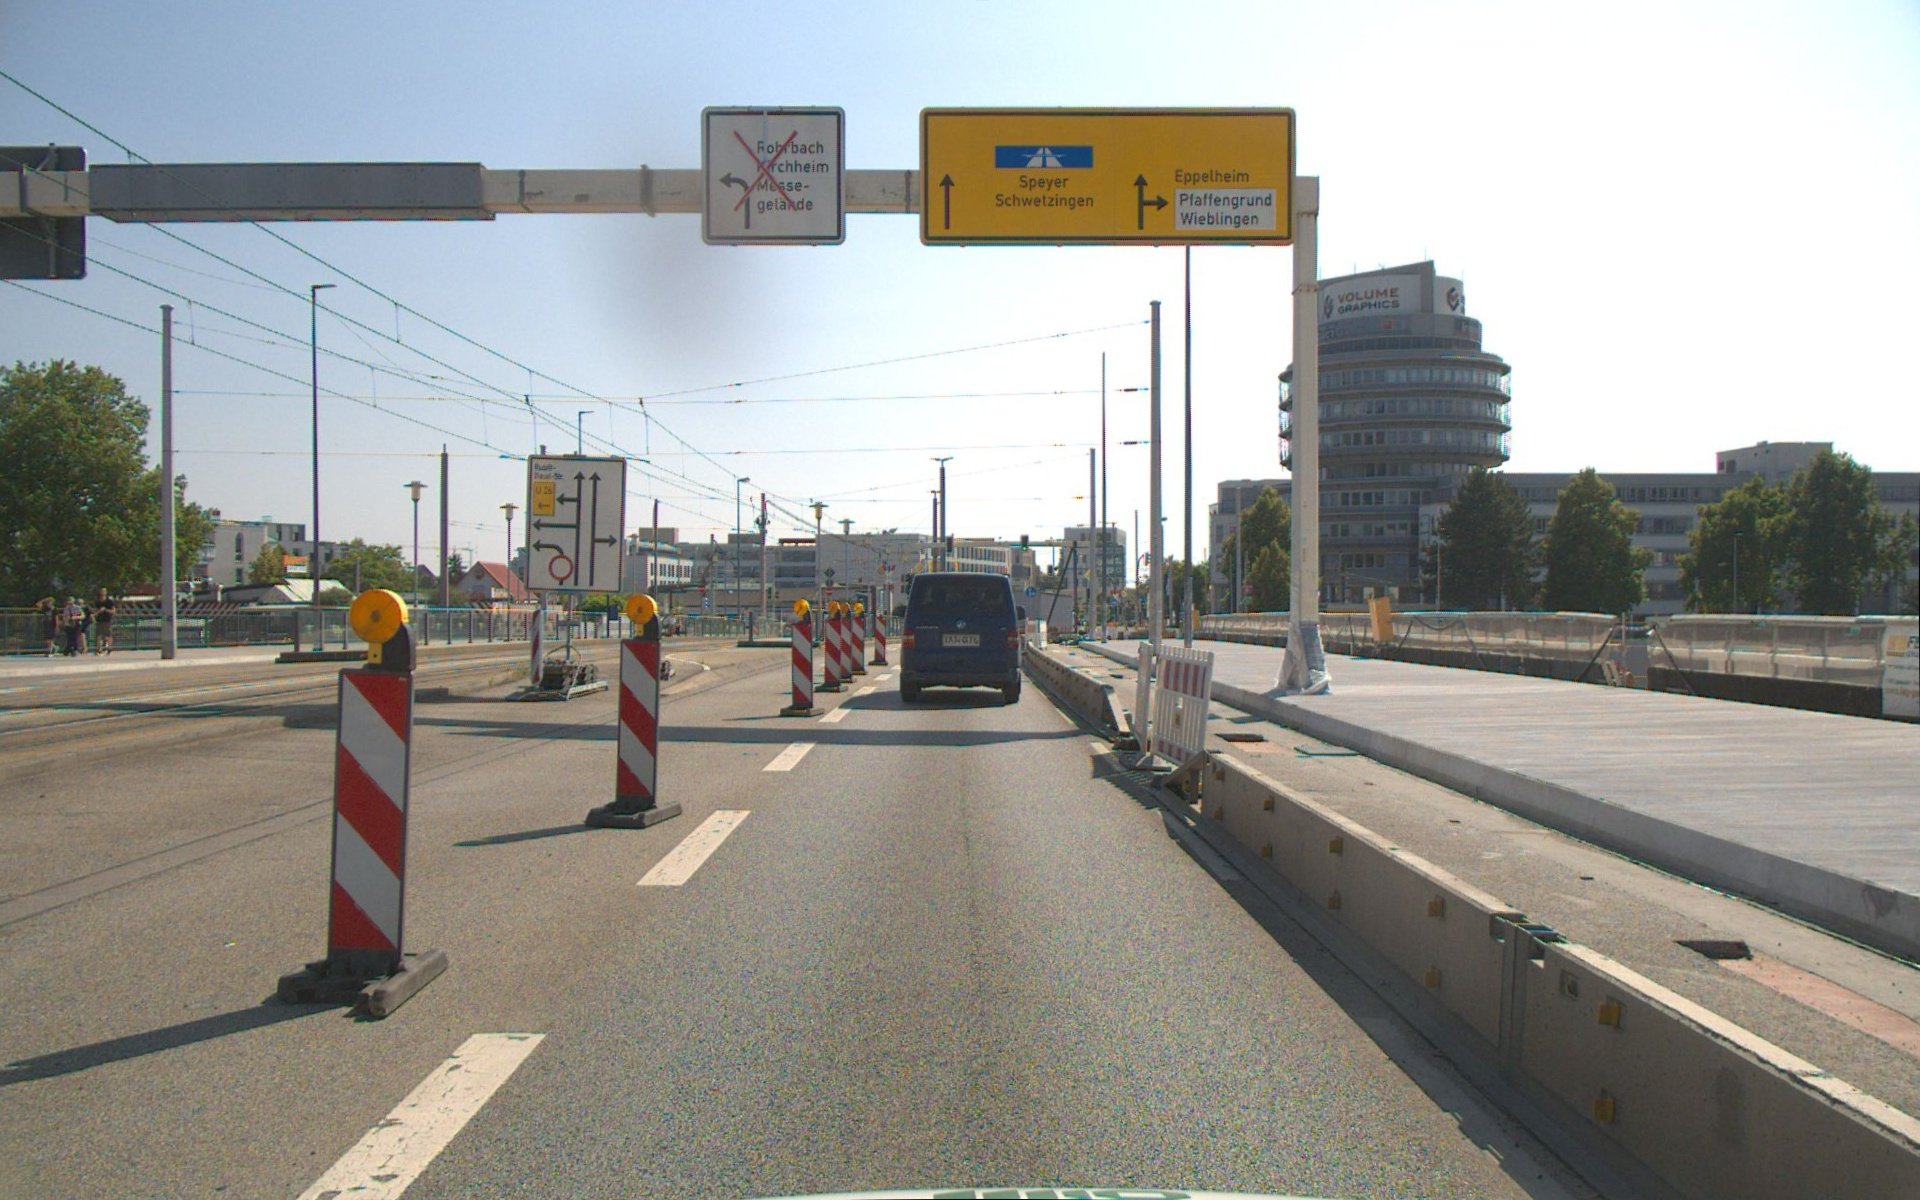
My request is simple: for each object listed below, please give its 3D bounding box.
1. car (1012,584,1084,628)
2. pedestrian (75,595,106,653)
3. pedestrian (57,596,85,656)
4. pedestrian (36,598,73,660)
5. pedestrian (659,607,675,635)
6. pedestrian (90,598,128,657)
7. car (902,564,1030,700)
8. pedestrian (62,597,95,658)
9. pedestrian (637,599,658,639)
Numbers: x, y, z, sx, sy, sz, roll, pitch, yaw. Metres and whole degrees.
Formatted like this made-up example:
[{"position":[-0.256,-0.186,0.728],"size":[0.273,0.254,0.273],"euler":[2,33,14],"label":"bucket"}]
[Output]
[{"position":[6.227,0.433,116.084],"size":[2.298,2.937,5.952],"euler":[1,0,33],"label":"car"},{"position":[-26.024,0.715,49.495],"size":[0.493,1.716,0.773],"euler":[0,0,2],"label":"pedestrian"},{"position":[-25.615,0.743,47.657],"size":[0.375,1.716,0.770],"euler":[0,0,2],"label":"pedestrian"},{"position":[-25.630,0.808,46.819],"size":[0.585,1.716,0.818],"euler":[0,0,2],"label":"pedestrian"},{"position":[-13.844,0.990,78.056],"size":[0.634,1.296,0.453],"euler":[0,-1,5],"label":"pedestrian"},{"position":[-24.943,0.809,48.481],"size":[0.737,1.716,0.732],"euler":[0,0,2],"label":"pedestrian"},{"position":[0.029,0.466,26.450],"size":[1.850,1.968,3.999],"euler":[1,0,-2],"label":"car"},{"position":[-25.067,0.767,47.027],"size":[0.476,1.716,0.808],"euler":[0,0,2],"label":"pedestrian"},{"position":[-13.434,0.806,71.101],"size":[0.646,1.683,0.740],"euler":[0,0,13],"label":"pedestrian"}]
